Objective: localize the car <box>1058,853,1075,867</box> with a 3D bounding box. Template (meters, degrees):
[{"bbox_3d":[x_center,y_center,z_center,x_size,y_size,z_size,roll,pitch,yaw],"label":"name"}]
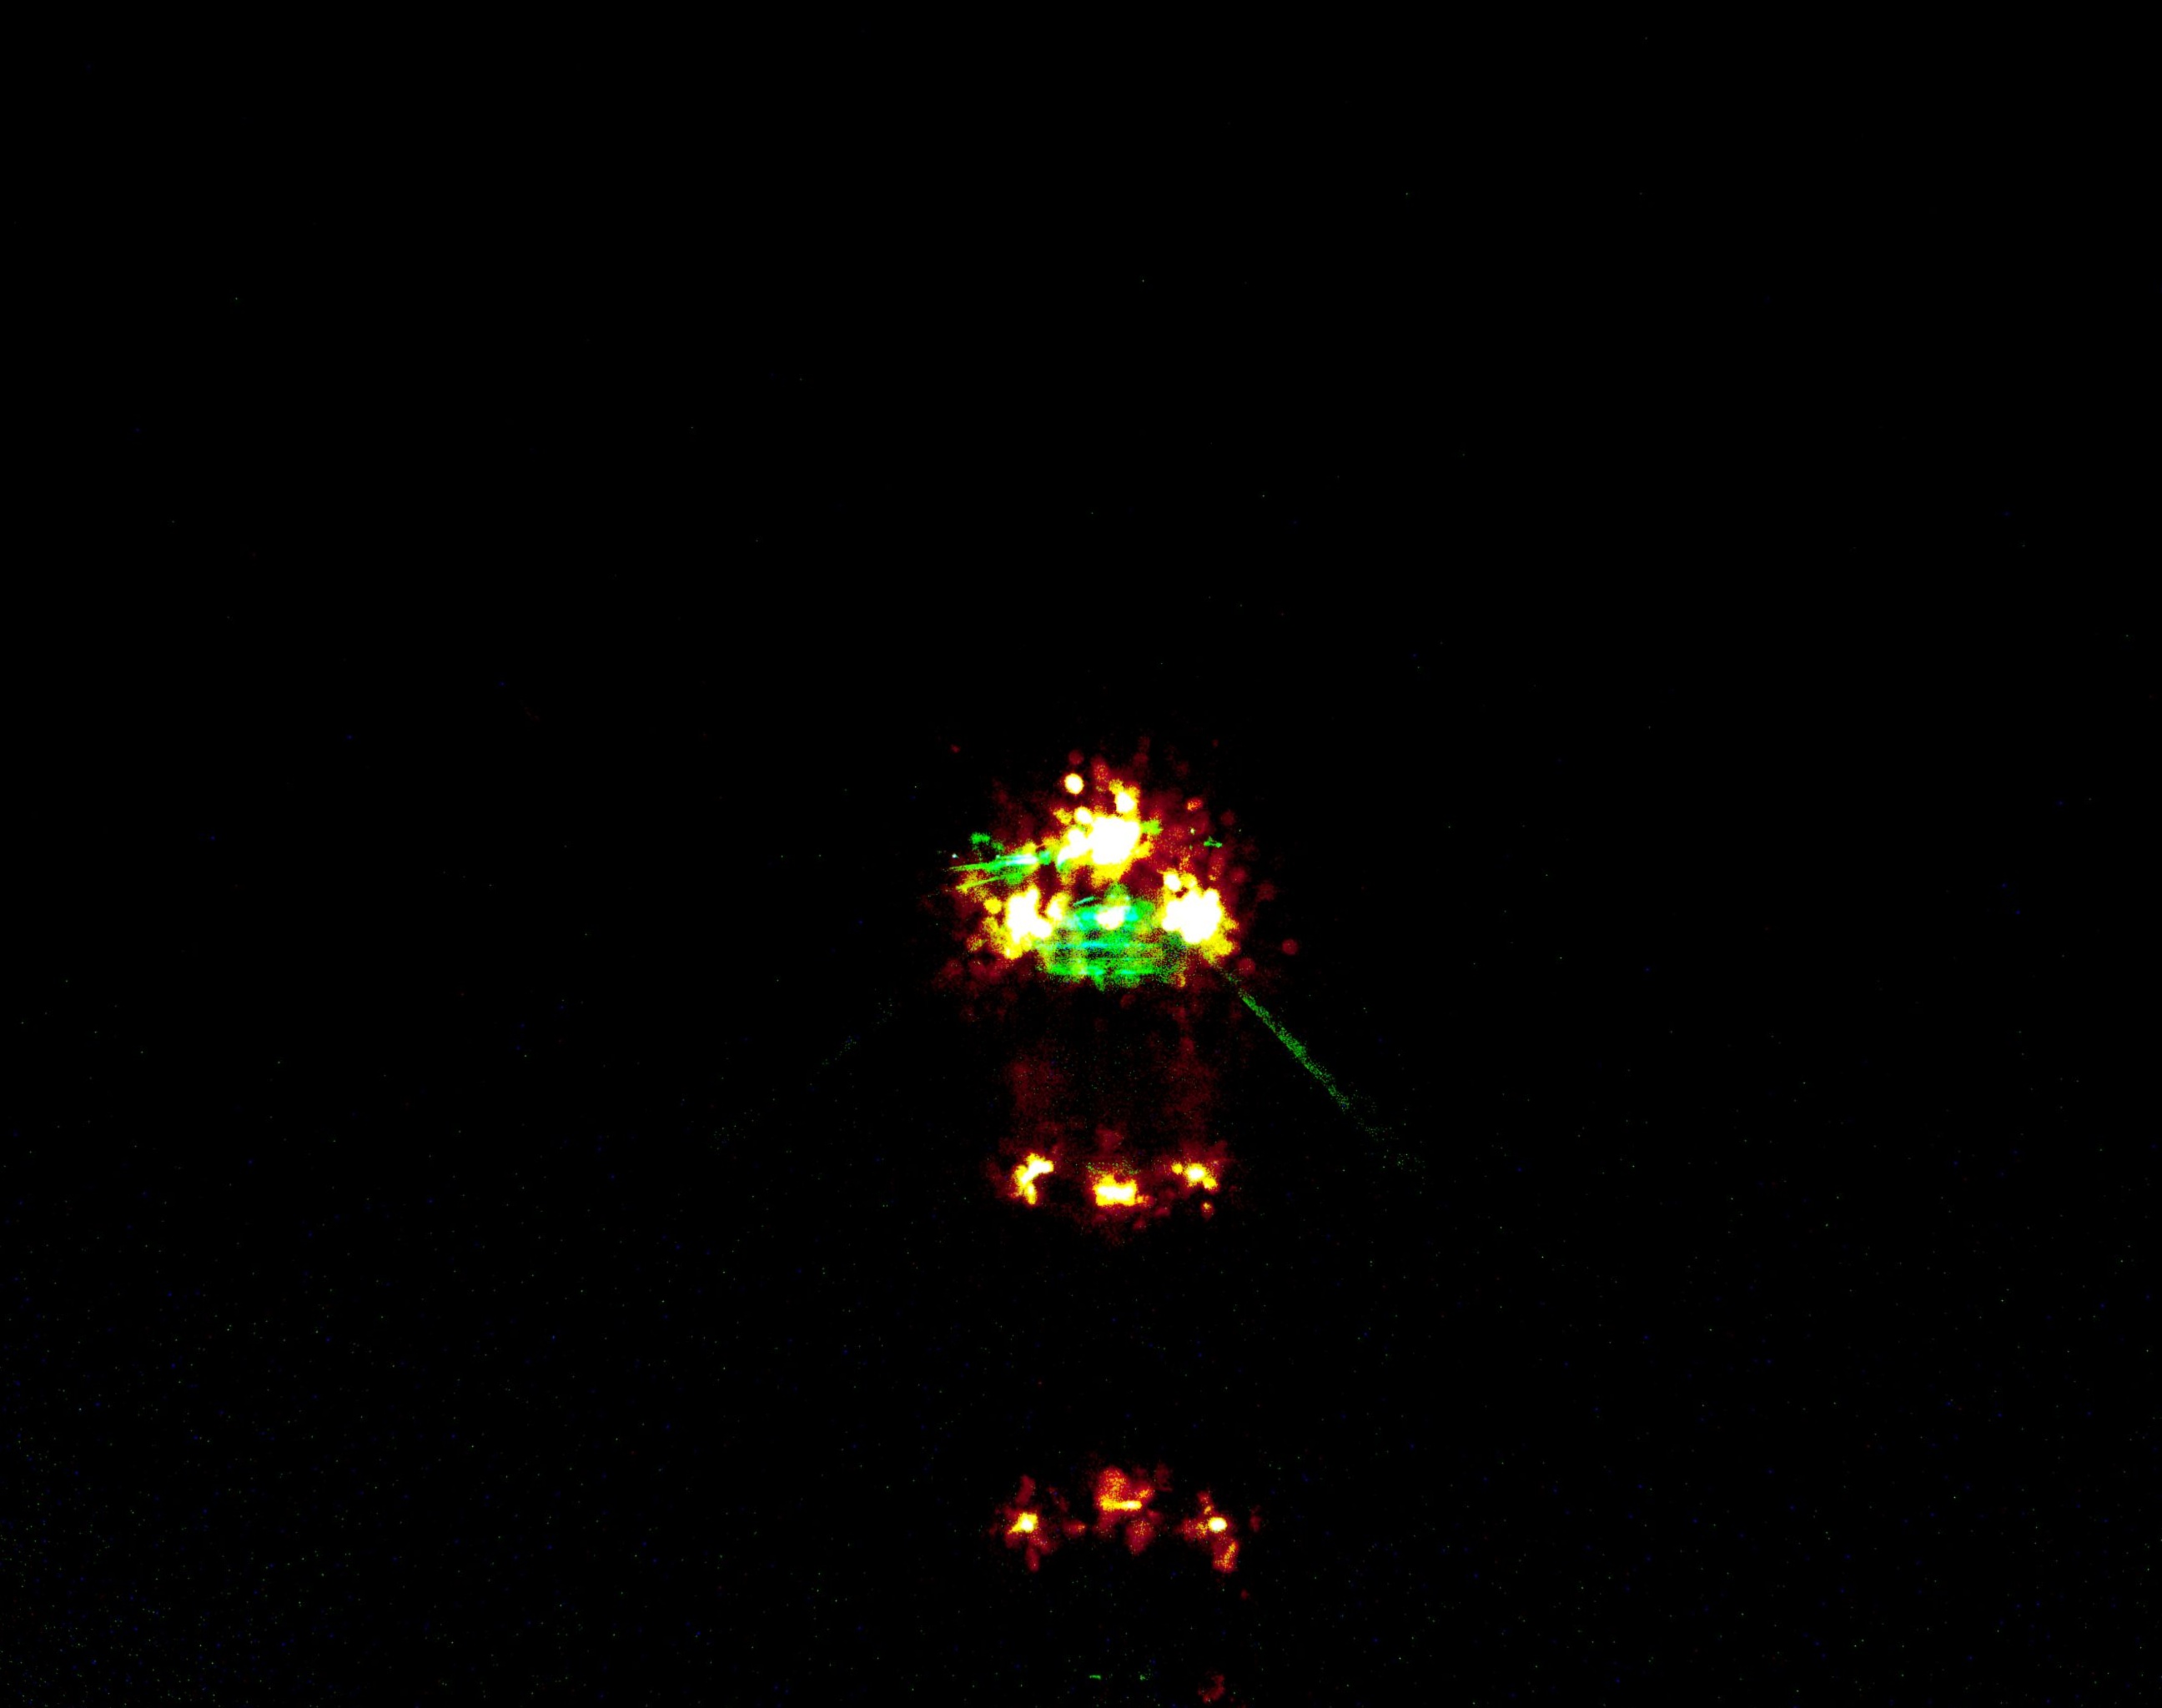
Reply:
[{"bbox_3d":[-1.612,0.678,92.982,1.536,1.510,3.885,0,0,5],"label":"car"}]

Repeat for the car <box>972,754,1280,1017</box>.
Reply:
[{"bbox_3d":[0.487,0.263,10.290,2.705,2.307,6.103,-1,0,2],"label":"car"}]
